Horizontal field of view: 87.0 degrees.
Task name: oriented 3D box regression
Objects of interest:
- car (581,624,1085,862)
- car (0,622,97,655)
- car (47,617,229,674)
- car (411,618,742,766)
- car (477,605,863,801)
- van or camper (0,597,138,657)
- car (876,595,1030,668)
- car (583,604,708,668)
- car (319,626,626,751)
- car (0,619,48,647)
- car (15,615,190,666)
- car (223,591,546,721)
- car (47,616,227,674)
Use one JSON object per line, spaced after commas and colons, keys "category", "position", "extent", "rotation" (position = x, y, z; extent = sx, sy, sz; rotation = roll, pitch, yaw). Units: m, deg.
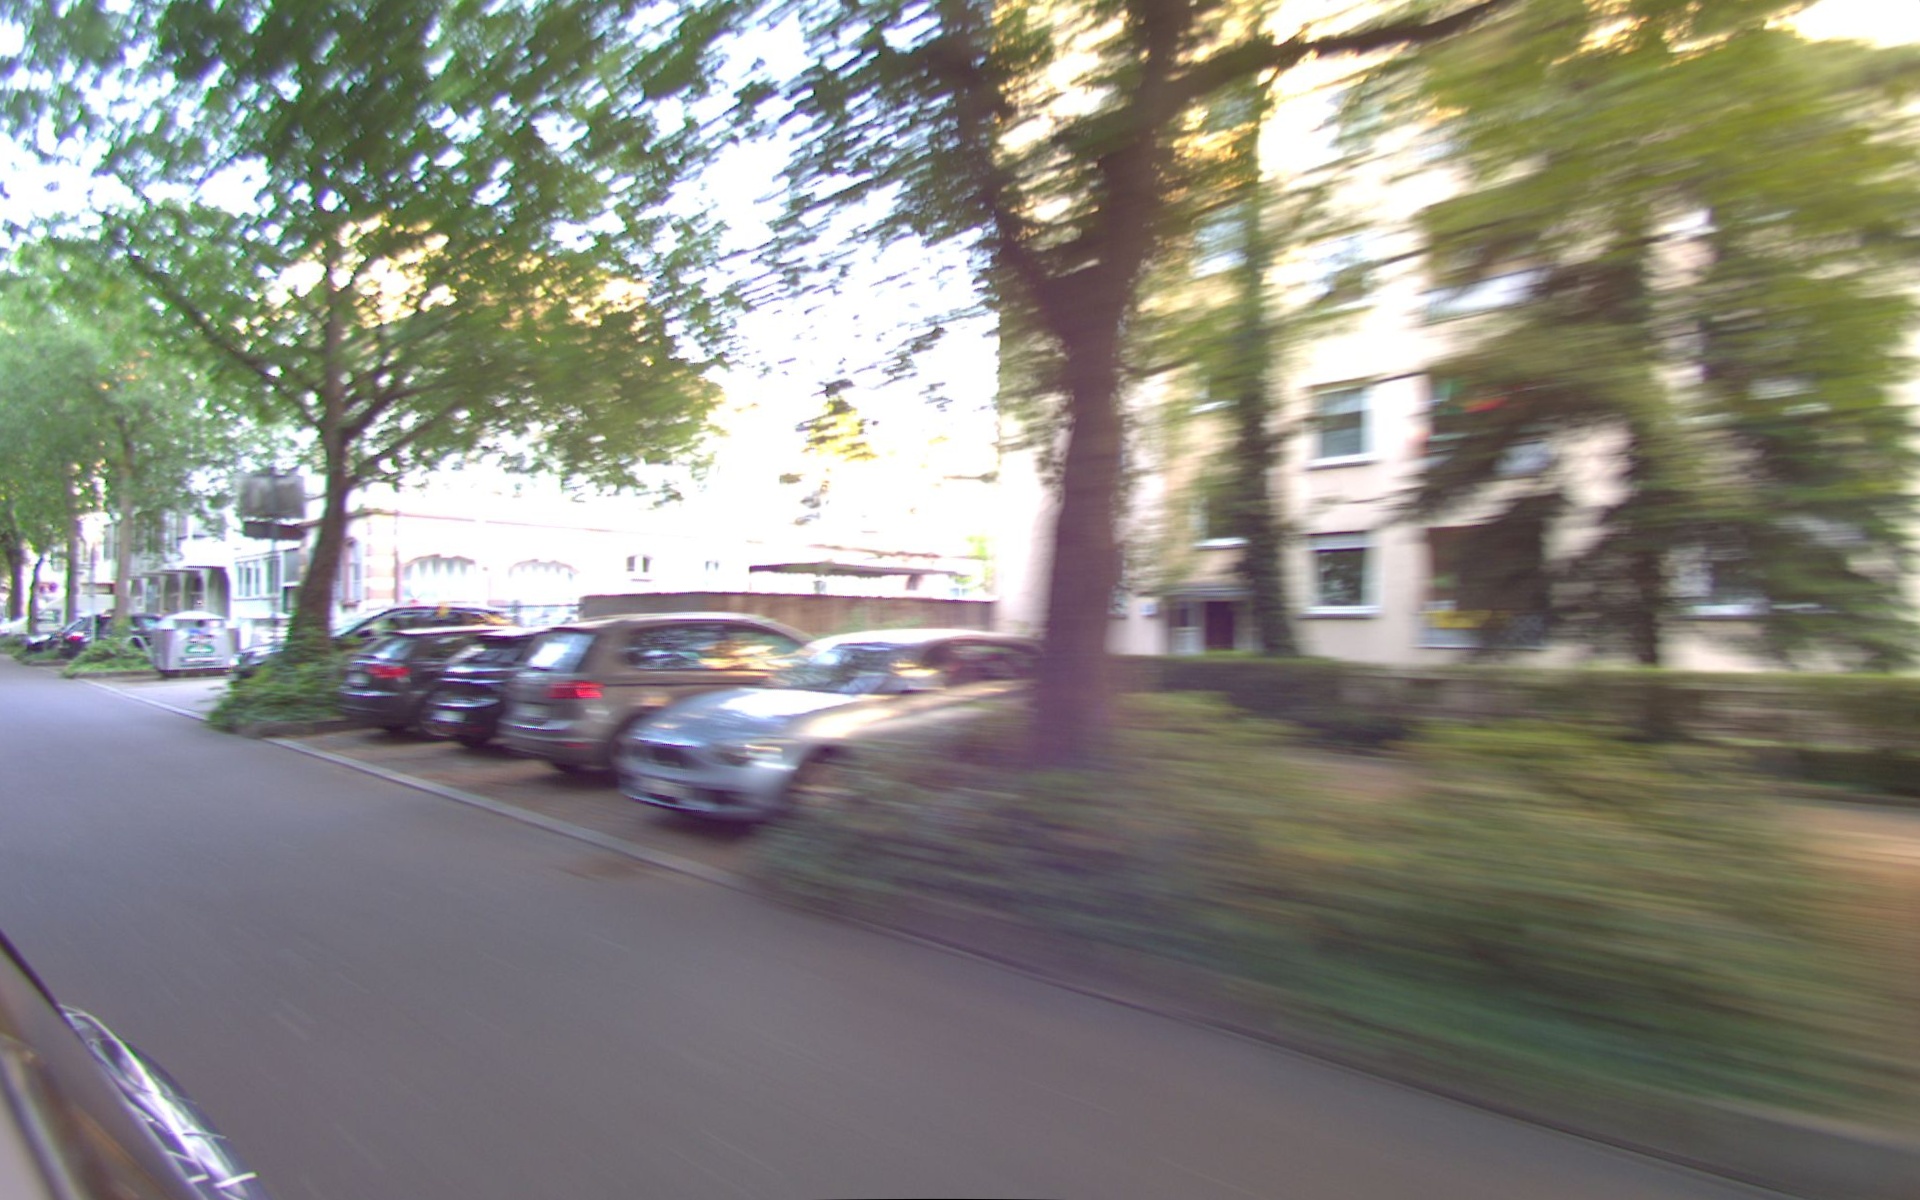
{"category": "car", "position": [-0.813, 0.936, 8.406], "extent": [1.745, 1.390, 4.058], "rotation": [-1, -1, 40]}
{"category": "car", "position": [-45.074, 1.864, 49.678], "extent": [4.007, 1.539, 1.623], "rotation": [1, -2, -44]}
{"category": "car", "position": [-24.427, 1.313, 30.181], "extent": [1.826, 1.600, 3.946], "rotation": [-1, -2, 40]}
{"category": "car", "position": [-4.507, 0.993, 12.236], "extent": [1.663, 1.518, 3.370], "rotation": [-1, -2, 40]}
{"category": "car", "position": [-2.805, 0.902, 10.273], "extent": [1.759, 1.621, 3.370], "rotation": [-1, -2, 40]}
{"category": "van or camper", "position": [-39.105, 1.200, 44.122], "extent": [1.945, 2.446, 4.765], "rotation": [-2, -3, 42]}
{"category": "car", "position": [-0.268, 0.958, 29.330], "extent": [4.415, 1.971, 1.762], "rotation": [-3, -3, 42]}
{"category": "car", "position": [-10.099, 1.097, 32.317], "extent": [4.462, 1.820, 1.762], "rotation": [1, 0, 42]}
{"category": "car", "position": [-6.423, 1.071, 13.582], "extent": [1.593, 1.453, 3.370], "rotation": [-1, -2, 40]}
{"category": "car", "position": [-60.600, 2.090, 63.758], "extent": [1.789, 1.772, 4.419], "rotation": [-1, -3, 39]}
{"category": "car", "position": [-30.214, 1.433, 35.792], "extent": [1.619, 1.695, 4.491], "rotation": [-1, -3, 38]}
{"category": "car", "position": [-9.600, 0.862, 17.160], "extent": [1.999, 1.906, 4.371], "rotation": [-1, -1, 42]}
{"category": "car", "position": [-24.505, 1.303, 30.225], "extent": [1.788, 1.604, 3.944], "rotation": [-1, -2, 42]}
